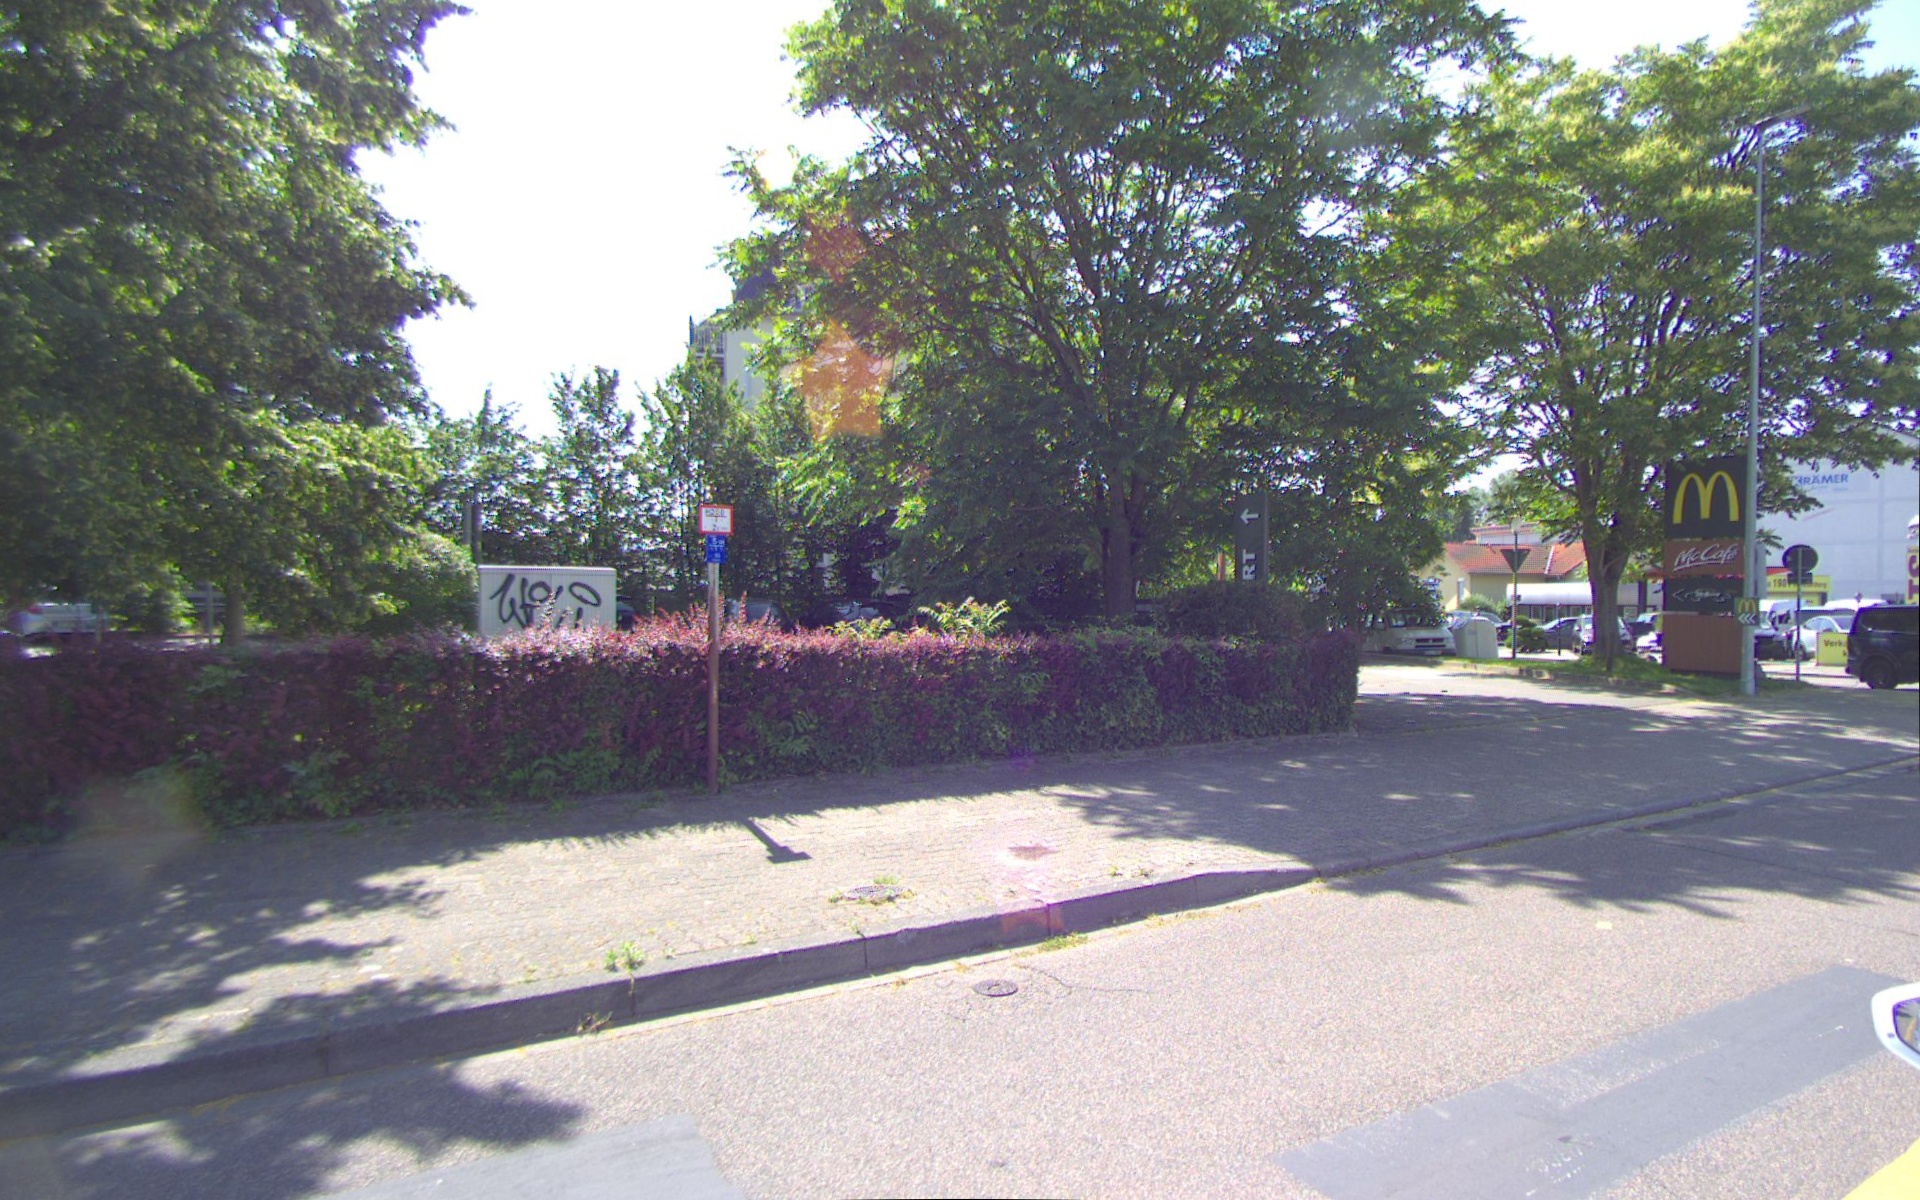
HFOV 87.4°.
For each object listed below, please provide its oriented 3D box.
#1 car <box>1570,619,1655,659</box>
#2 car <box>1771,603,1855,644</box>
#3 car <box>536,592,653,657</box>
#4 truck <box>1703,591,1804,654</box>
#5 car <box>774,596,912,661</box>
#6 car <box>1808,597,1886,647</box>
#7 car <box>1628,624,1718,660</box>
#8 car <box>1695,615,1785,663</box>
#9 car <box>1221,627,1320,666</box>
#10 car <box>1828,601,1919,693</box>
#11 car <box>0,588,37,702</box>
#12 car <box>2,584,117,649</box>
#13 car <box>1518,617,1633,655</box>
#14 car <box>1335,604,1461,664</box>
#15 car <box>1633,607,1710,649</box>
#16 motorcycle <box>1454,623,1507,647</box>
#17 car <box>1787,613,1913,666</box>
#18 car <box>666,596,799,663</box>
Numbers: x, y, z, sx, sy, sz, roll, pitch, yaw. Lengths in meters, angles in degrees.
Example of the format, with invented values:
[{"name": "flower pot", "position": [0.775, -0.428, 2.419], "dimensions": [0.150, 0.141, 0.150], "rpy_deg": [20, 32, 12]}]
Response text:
[{"name": "car", "position": [27.064, 1.619, 41.649], "dimensions": [3.965, 1.530, 1.774], "rpy_deg": [2, 0, -39]}, {"name": "car", "position": [38.896, 1.073, 45.790], "dimensions": [4.677, 1.761, 1.864], "rpy_deg": [1, 1, -36]}, {"name": "car", "position": [-9.926, 0.590, 27.101], "dimensions": [1.759, 1.490, 3.953], "rpy_deg": [-1, 2, -40]}, {"name": "truck", "position": [39.254, 1.102, 49.637], "dimensions": [5.883, 2.943, 2.254], "rpy_deg": [1, 1, -35]}, {"name": "car", "position": [-3.186, 0.699, 26.828], "dimensions": [1.650, 1.490, 3.852], "rpy_deg": [-1, 3, -44]}, {"name": "car", "position": [43.656, 1.066, 49.425], "dimensions": [4.670, 2.315, 2.119], "rpy_deg": [1, 0, -39]}, {"name": "car", "position": [31.889, 1.873, 44.920], "dimensions": [3.952, 1.507, 1.780], "rpy_deg": [2, 0, -29]}, {"name": "car", "position": [29.068, 1.401, 37.572], "dimensions": [2.016, 1.616, 4.415], "rpy_deg": [2, 0, 30]}, {"name": "car", "position": [11.928, 1.767, 38.674], "dimensions": [3.351, 1.397, 1.485], "rpy_deg": [0, 2, -7]}, {"name": "car", "position": [21.911, 0.990, 21.208], "dimensions": [2.142, 1.994, 5.441], "rpy_deg": [0, -2, -5]}, {"name": "car", "position": [-14.717, 0.573, 12.613], "dimensions": [4.321, 1.472, 1.845], "rpy_deg": [1, -2, -34]}, {"name": "car", "position": [-23.414, 0.361, 26.076], "dimensions": [3.941, 1.495, 1.765], "rpy_deg": [2, 2, 41]}, {"name": "car", "position": [29.362, 1.680, 48.072], "dimensions": [4.247, 1.606, 2.001], "rpy_deg": [2, 0, 15]}, {"name": "car", "position": [13.475, 0.984, 31.274], "dimensions": [1.919, 1.604, 5.032], "rpy_deg": [2, 1, 3]}, {"name": "car", "position": [36.839, 1.472, 51.944], "dimensions": [4.454, 2.040, 1.979], "rpy_deg": [2, 0, -37]}, {"name": "motorcycle", "position": [29.323, 1.989, 56.614], "dimensions": [2.674, 1.243, 0.996], "rpy_deg": [2, 0, -16]}, {"name": "car", "position": [32.087, 1.377, 36.365], "dimensions": [1.960, 1.748, 4.001], "rpy_deg": [2, 0, 18]}, {"name": "car", "position": [-5.979, 0.698, 26.131], "dimensions": [1.691, 1.473, 3.951], "rpy_deg": [-1, 2, -42]}]
